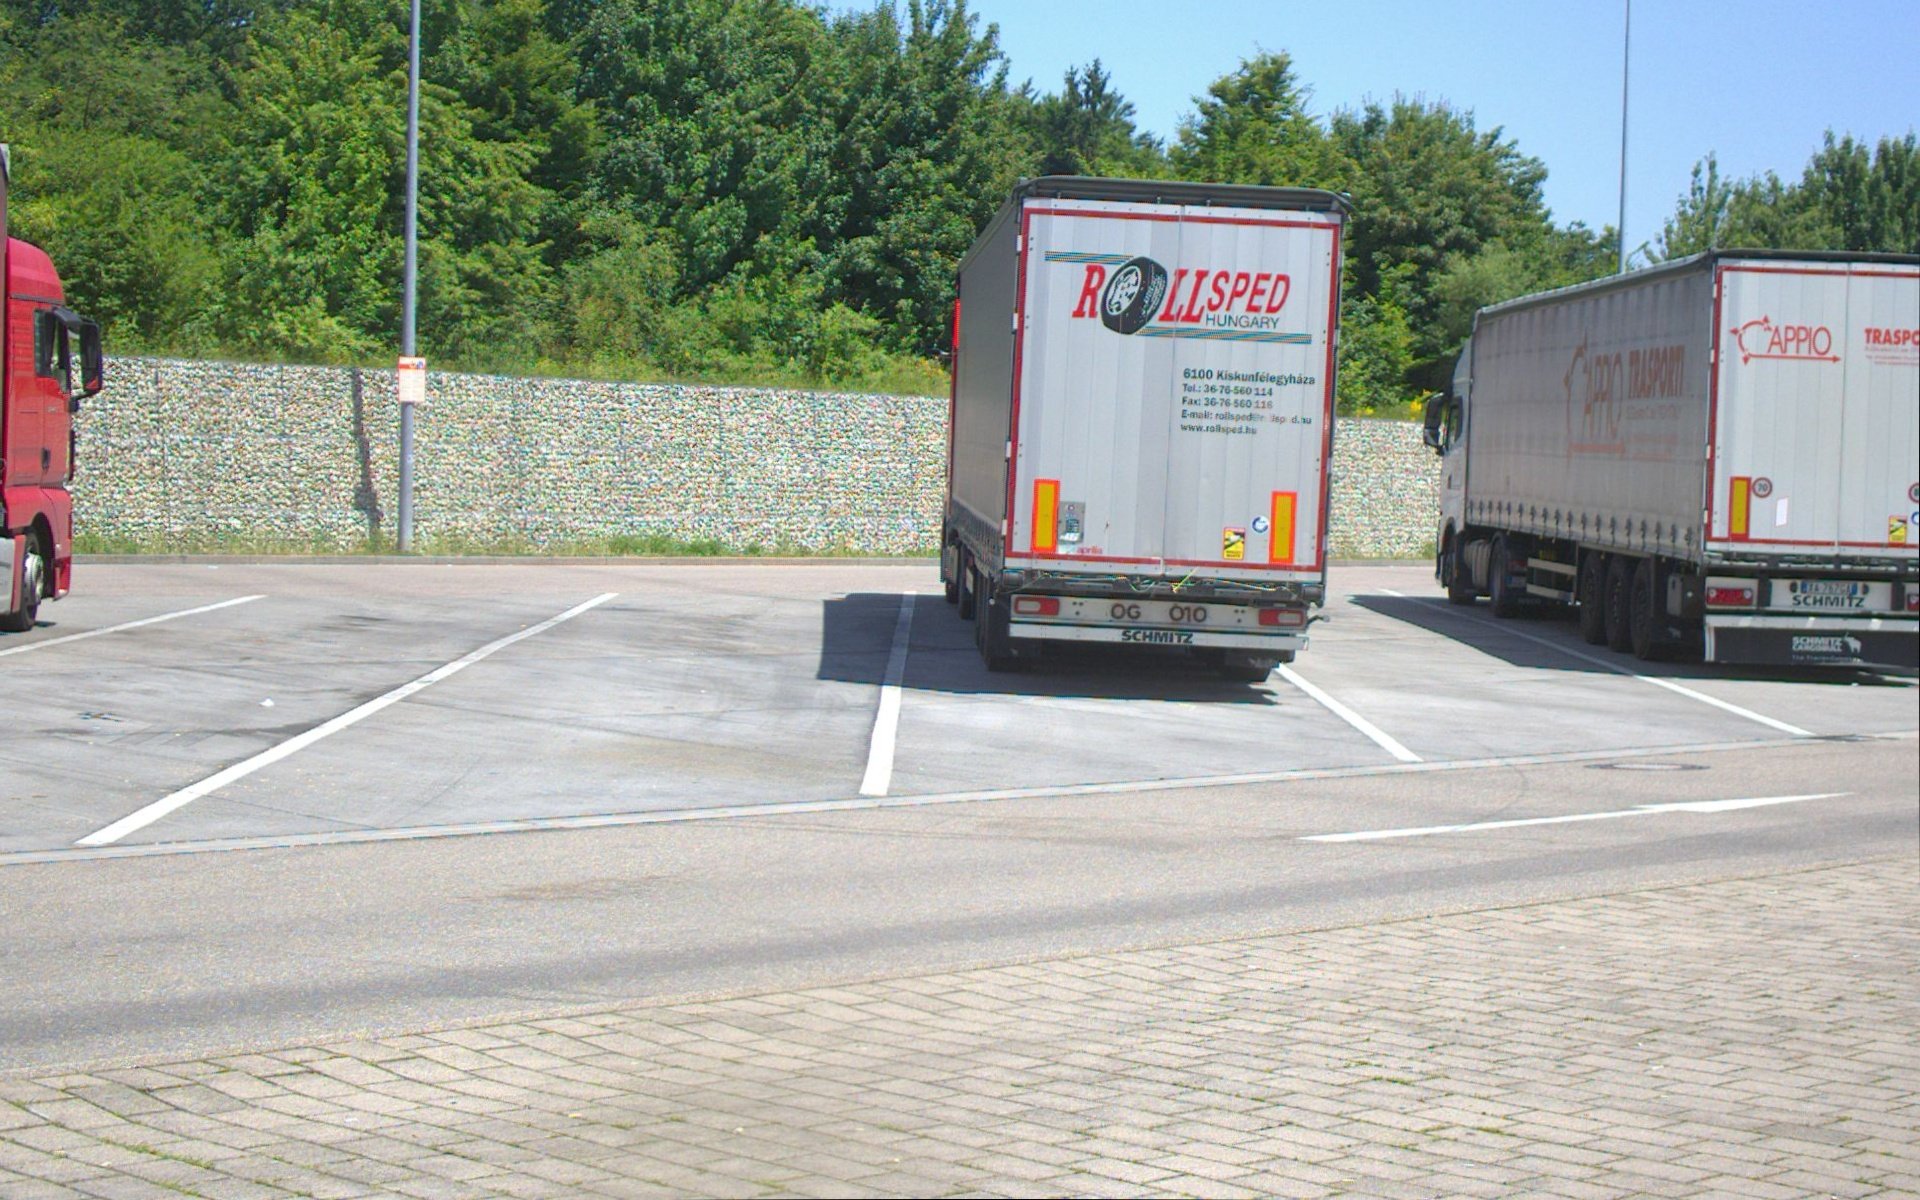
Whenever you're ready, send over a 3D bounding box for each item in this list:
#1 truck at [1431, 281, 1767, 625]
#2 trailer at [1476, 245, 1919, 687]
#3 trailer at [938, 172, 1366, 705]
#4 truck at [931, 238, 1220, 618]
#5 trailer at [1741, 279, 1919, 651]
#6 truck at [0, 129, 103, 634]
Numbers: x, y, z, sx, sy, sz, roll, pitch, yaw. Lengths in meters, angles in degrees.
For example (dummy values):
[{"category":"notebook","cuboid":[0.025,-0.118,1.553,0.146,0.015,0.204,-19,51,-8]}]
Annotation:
[{"category":"truck","cuboid":[8.114,-1.951,44.593,2.866,4.023,6.957,2,3,0]},{"category":"trailer","cuboid":[8.174,-1.568,37.966,2.866,4.023,12.439,2,3,0]},{"category":"trailer","cuboid":[1.430,-1.636,33.628,2.866,4.023,14.243,2,3,-2]},{"category":"truck","cuboid":[1.217,-2.054,40.707,2.866,4.023,7.028,2,3,-2]},{"category":"trailer","cuboid":[11.829,-1.529,39.030,2.866,4.023,12.439,2,3,0]},{"category":"truck","cuboid":[-9.157,-1.810,27.989,2.696,4.099,6.240,2,3,0]}]
